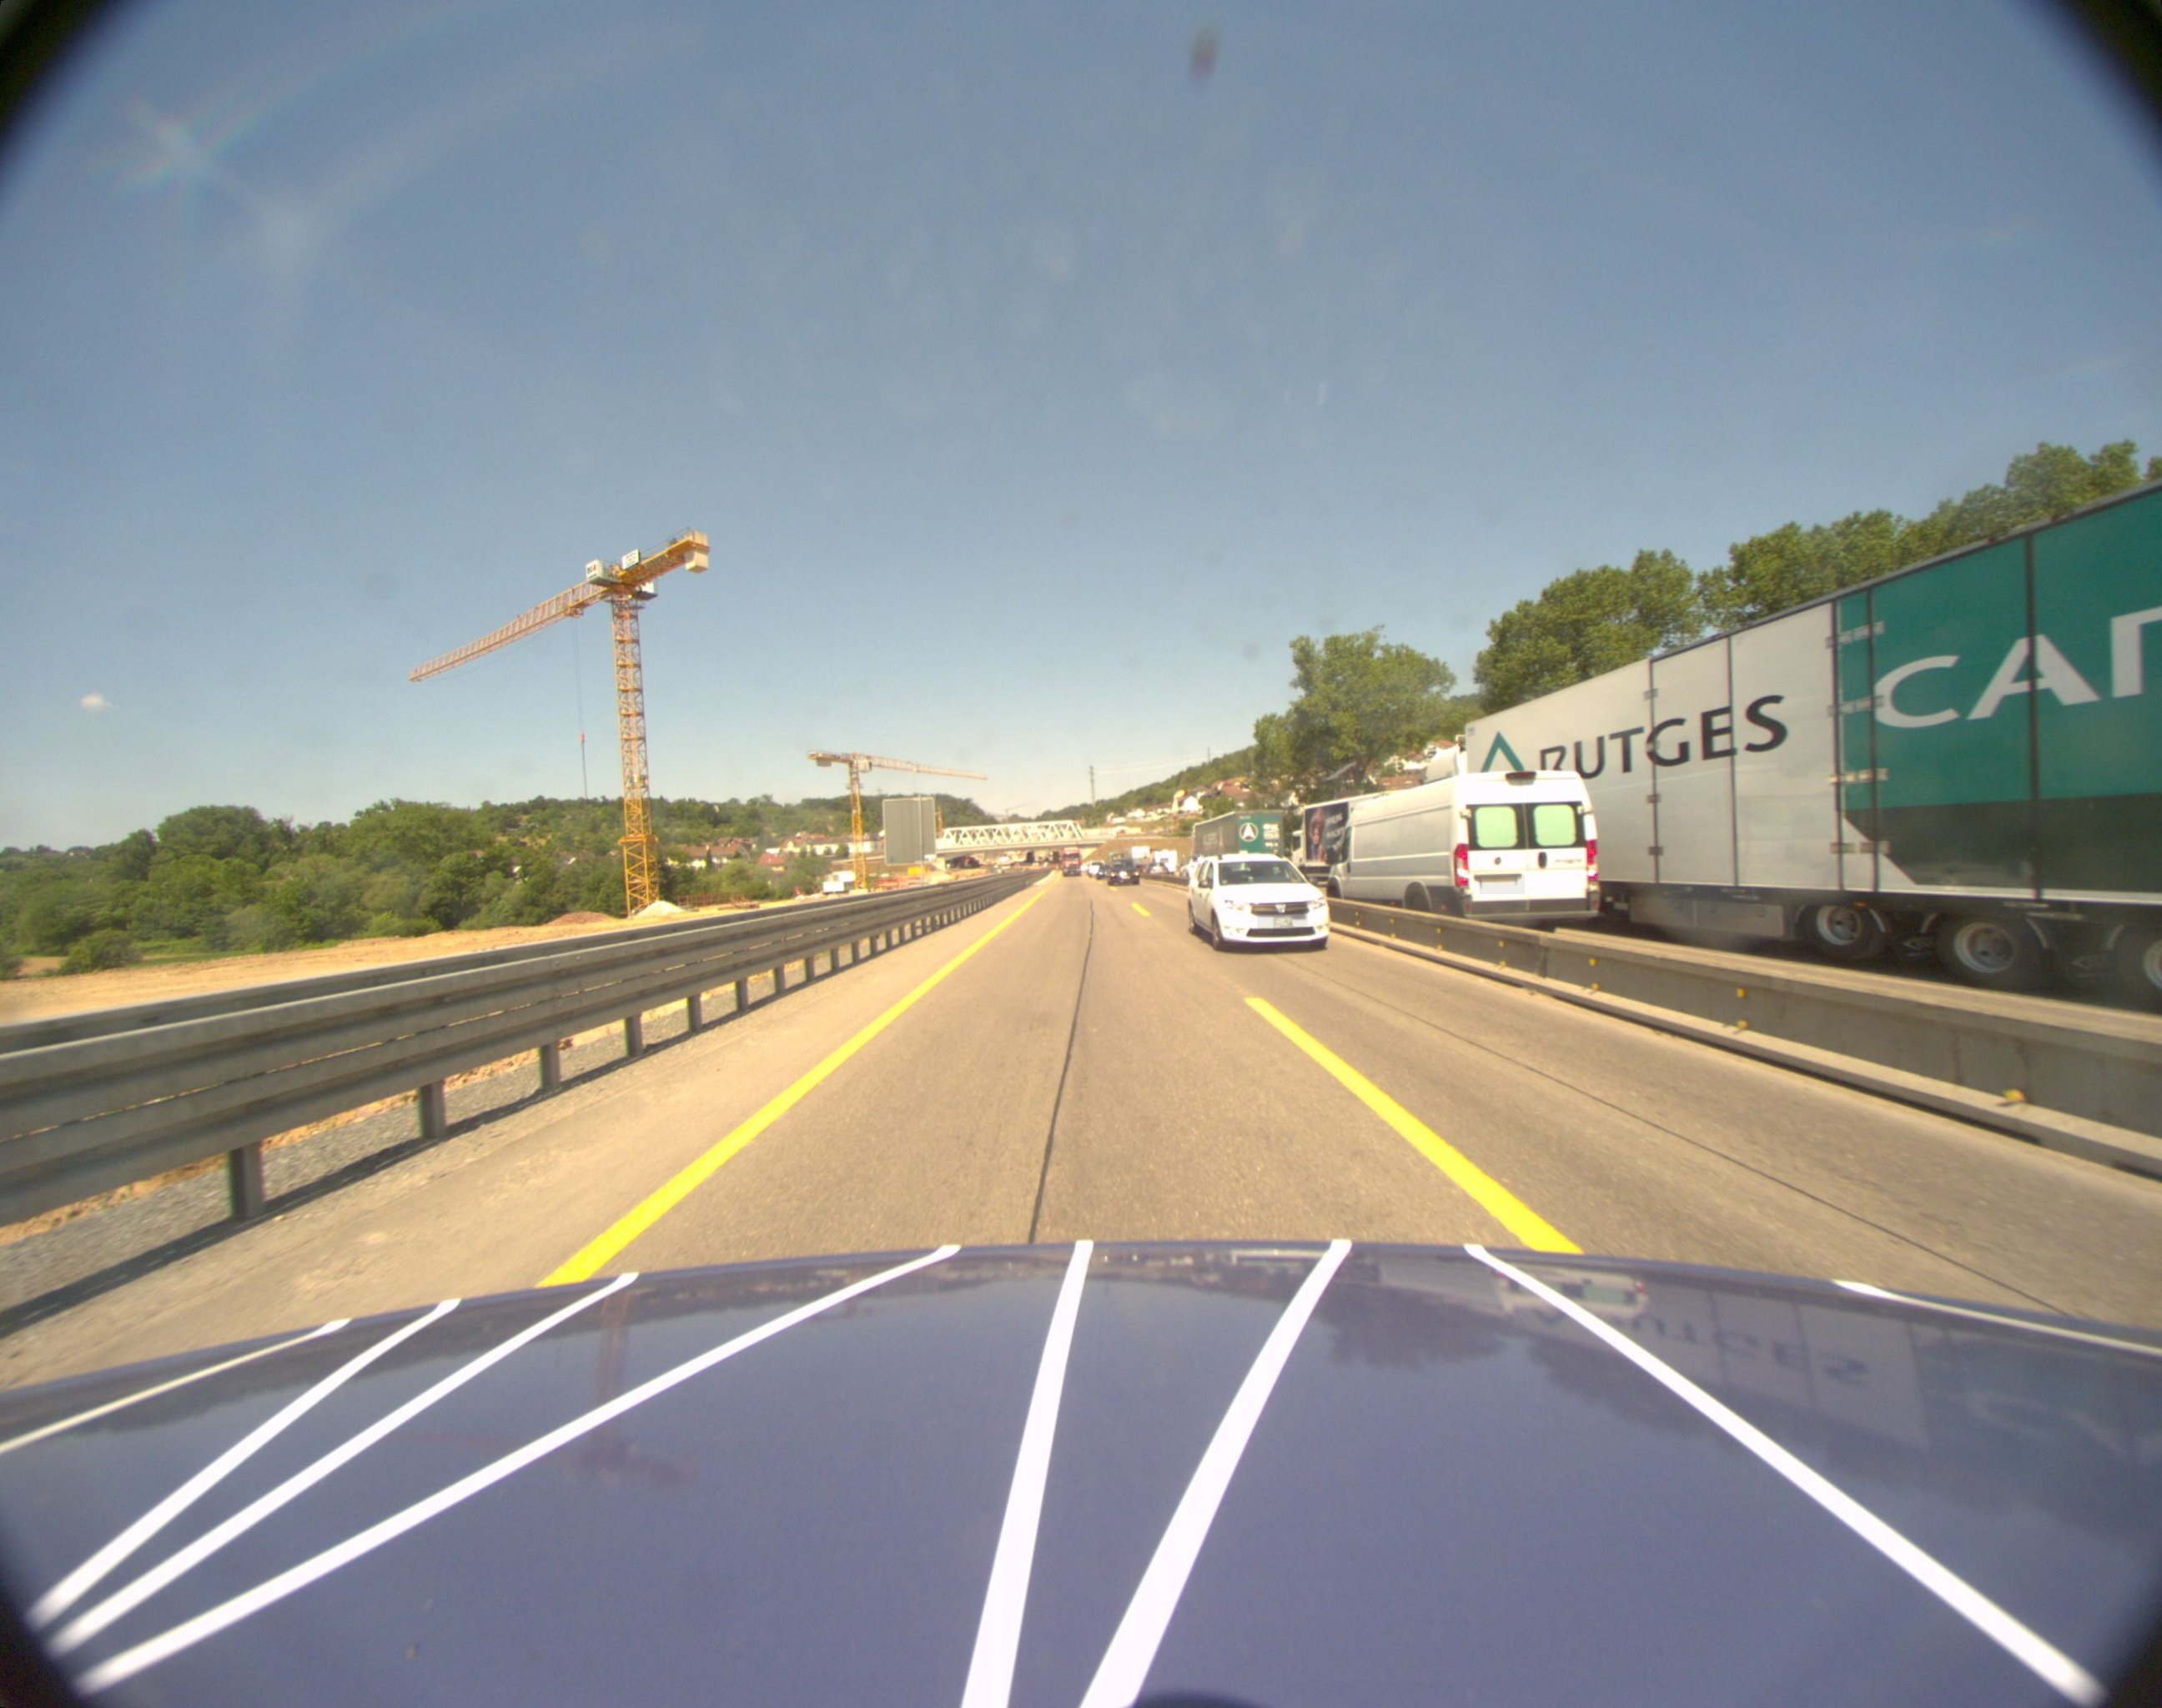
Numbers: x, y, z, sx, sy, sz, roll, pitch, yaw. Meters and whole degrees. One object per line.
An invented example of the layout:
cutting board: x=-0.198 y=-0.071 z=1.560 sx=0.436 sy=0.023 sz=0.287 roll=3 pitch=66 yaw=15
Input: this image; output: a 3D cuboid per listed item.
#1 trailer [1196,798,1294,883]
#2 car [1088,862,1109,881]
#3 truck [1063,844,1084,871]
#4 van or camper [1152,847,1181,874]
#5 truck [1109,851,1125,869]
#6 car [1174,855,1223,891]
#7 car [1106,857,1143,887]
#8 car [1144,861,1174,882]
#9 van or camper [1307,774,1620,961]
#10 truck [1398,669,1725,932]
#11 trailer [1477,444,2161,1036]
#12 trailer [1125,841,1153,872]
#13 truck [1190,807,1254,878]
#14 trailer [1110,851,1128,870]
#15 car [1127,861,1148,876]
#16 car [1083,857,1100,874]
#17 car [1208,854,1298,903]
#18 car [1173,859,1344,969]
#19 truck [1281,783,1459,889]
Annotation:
trailer: x=9.692 y=-0.635 z=46.856 sx=3.109 sy=4.438 sz=13.020 roll=-2 pitch=-1 yaw=0
car: x=1.655 y=1.611 z=71.763 sx=1.791 sy=1.578 sz=4.000 roll=-4 pitch=-1 yaw=0
truck: x=-0.985 y=0.454 z=108.275 sx=2.702 sy=3.704 sz=8.507 roll=-2 pitch=0 yaw=0
van or camper: x=9.234 y=0.734 z=82.696 sx=2.510 sy=2.682 sz=5.244 roll=-2 pitch=-1 yaw=0
truck: x=7.602 y=1.336 z=162.391 sx=2.804 sy=3.700 sz=5.374 roll=-2 pitch=0 yaw=-2
car: x=6.041 y=0.978 z=39.604 sx=1.761 sy=1.637 sz=4.155 roll=-4 pitch=-1 yaw=-1
car: x=2.719 y=1.112 z=48.030 sx=1.862 sy=1.682 sz=4.097 roll=-3 pitch=-1 yaw=-2
car: x=6.257 y=1.381 z=61.253 sx=1.870 sy=1.450 sz=4.607 roll=-4 pitch=-1 yaw=0
van or camper: x=6.263 y=0.227 z=13.766 sx=2.224 sy=2.496 sz=6.533 roll=-2 pitch=-1 yaw=-1
truck: x=9.482 y=-0.875 z=16.042 sx=2.813 sy=4.366 sz=6.225 roll=-2 pitch=-1 yaw=0
trailer: x=9.477 y=-0.893 z=8.825 sx=2.822 sy=4.404 sz=13.166 roll=-2 pitch=0 yaw=0
trailer: x=8.481 y=0.468 z=113.151 sx=2.814 sy=4.151 sz=11.798 roll=-3 pitch=-1 yaw=-1
truck: x=9.749 y=-0.720 z=53.309 sx=3.085 sy=4.510 sz=7.103 roll=-2 pitch=0 yaw=0
trailer: x=7.764 y=1.300 z=157.506 sx=2.802 sy=3.650 sz=8.956 roll=-2 pitch=-1 yaw=-2
car: x=5.906 y=1.478 z=80.300 sx=1.782 sy=1.412 sz=4.538 roll=-4 pitch=-1 yaw=0
car: x=1.227 y=1.342 z=90.070 sx=1.791 sy=1.870 sz=4.000 roll=-4 pitch=-1 yaw=0
car: x=6.049 y=0.834 z=27.386 sx=1.999 sy=1.489 sz=4.975 roll=-3 pitch=-1 yaw=0
car: x=2.882 y=0.899 z=13.443 sx=1.823 sy=1.521 sz=4.706 roll=-2 pitch=-1 yaw=-1
truck: x=11.651 y=-0.574 z=31.802 sx=2.914 sy=3.742 sz=8.361 roll=-3 pitch=-1 yaw=-10
